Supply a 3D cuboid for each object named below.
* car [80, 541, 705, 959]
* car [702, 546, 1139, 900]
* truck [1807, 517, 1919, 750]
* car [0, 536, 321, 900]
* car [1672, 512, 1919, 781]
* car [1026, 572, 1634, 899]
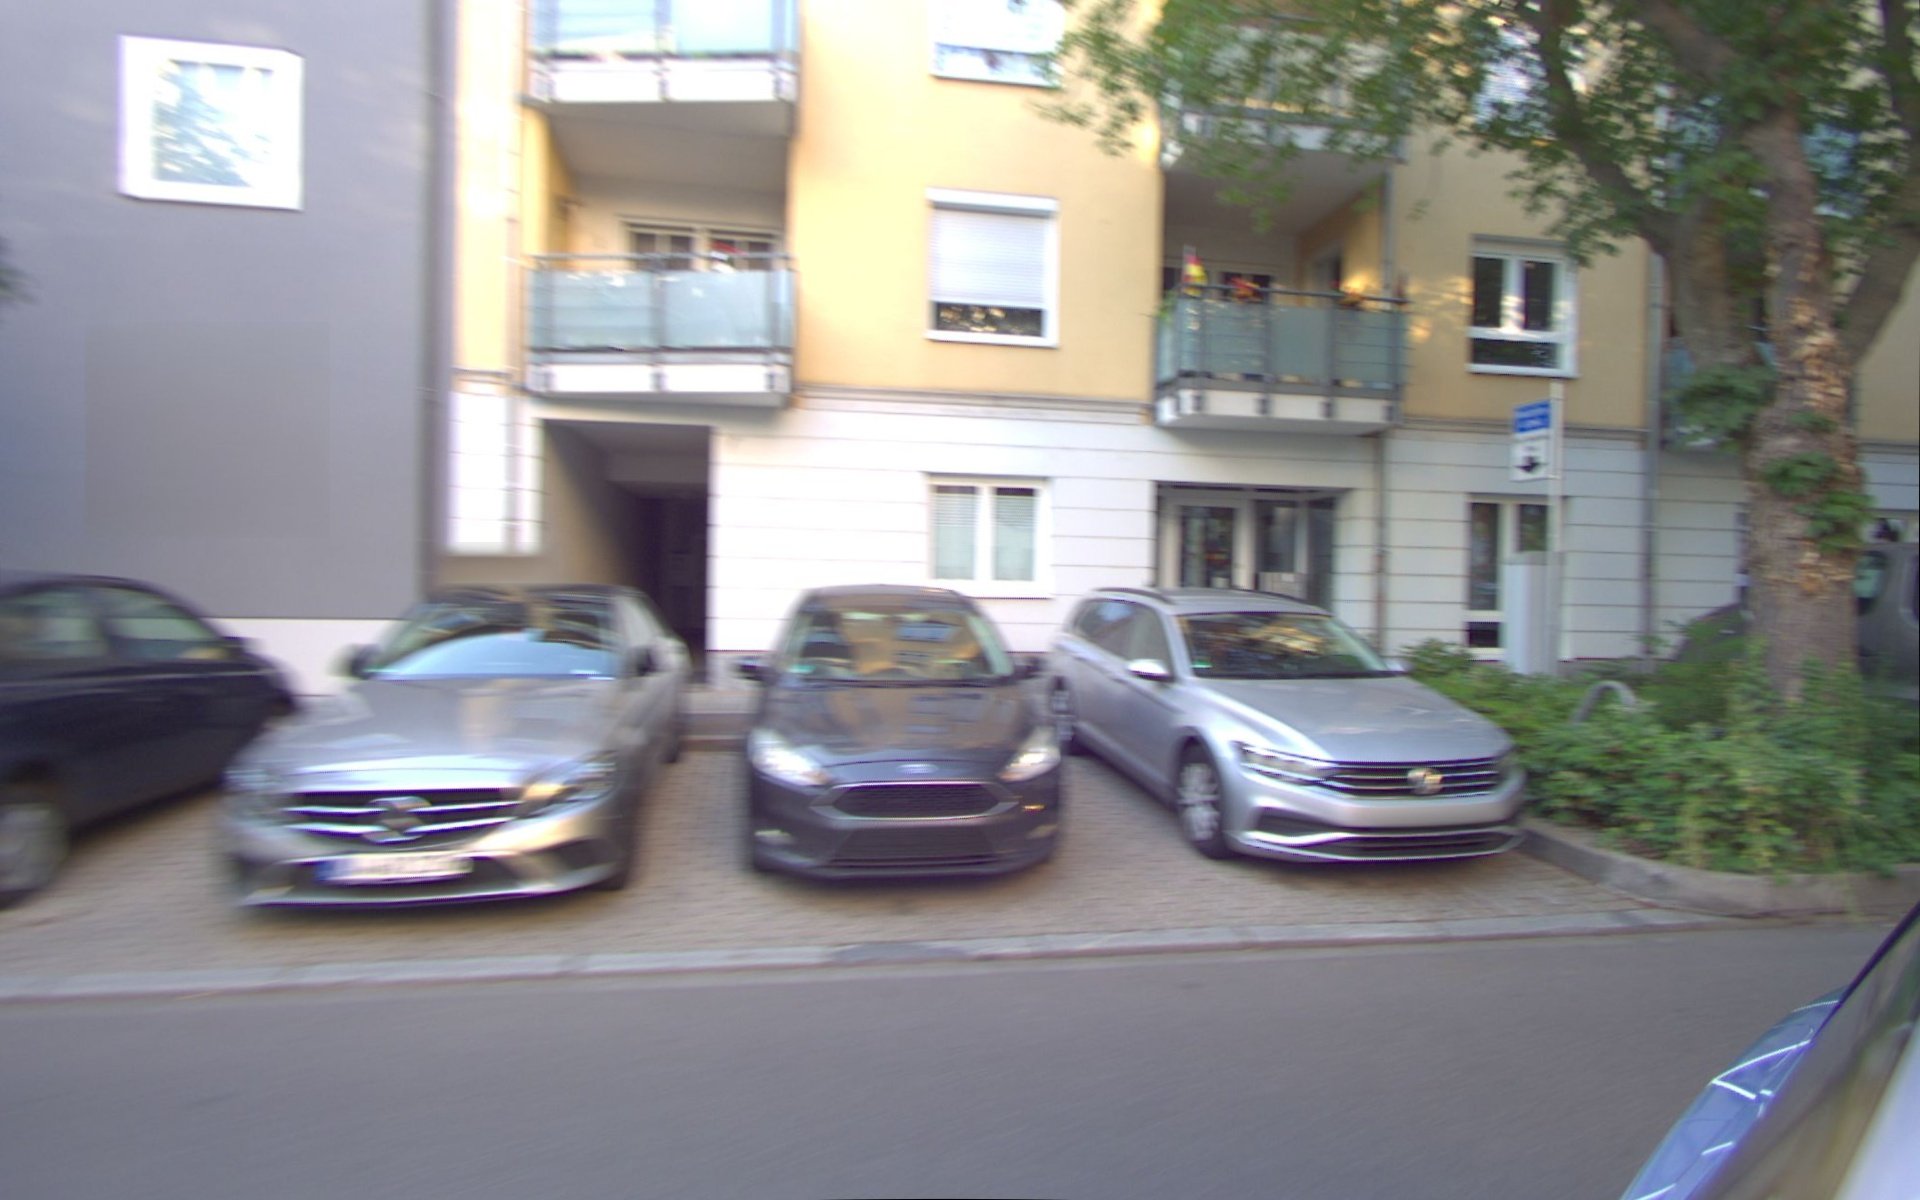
[{"bbox_3d":[-2.774,0.554,6.298,1.969,1.591,4.645,1,0,-10],"label":"car"},{"bbox_3d":[-0.501,0.521,6.918,1.950,1.539,4.806,1,0,-8],"label":"car"},{"bbox_3d":[11.035,0.384,8.565,2.167,2.340,5.917,1,1,-9],"label":"truck"},{"bbox_3d":[-5.288,0.479,5.550,1.794,1.583,3.557,1,1,-10],"label":"car"},{"bbox_3d":[8.553,0.380,7.920,2.152,2.092,4.624,1,1,-11],"label":"car"},{"bbox_3d":[2.024,0.595,7.270,1.920,1.521,4.647,1,2,-11],"label":"car"}]
